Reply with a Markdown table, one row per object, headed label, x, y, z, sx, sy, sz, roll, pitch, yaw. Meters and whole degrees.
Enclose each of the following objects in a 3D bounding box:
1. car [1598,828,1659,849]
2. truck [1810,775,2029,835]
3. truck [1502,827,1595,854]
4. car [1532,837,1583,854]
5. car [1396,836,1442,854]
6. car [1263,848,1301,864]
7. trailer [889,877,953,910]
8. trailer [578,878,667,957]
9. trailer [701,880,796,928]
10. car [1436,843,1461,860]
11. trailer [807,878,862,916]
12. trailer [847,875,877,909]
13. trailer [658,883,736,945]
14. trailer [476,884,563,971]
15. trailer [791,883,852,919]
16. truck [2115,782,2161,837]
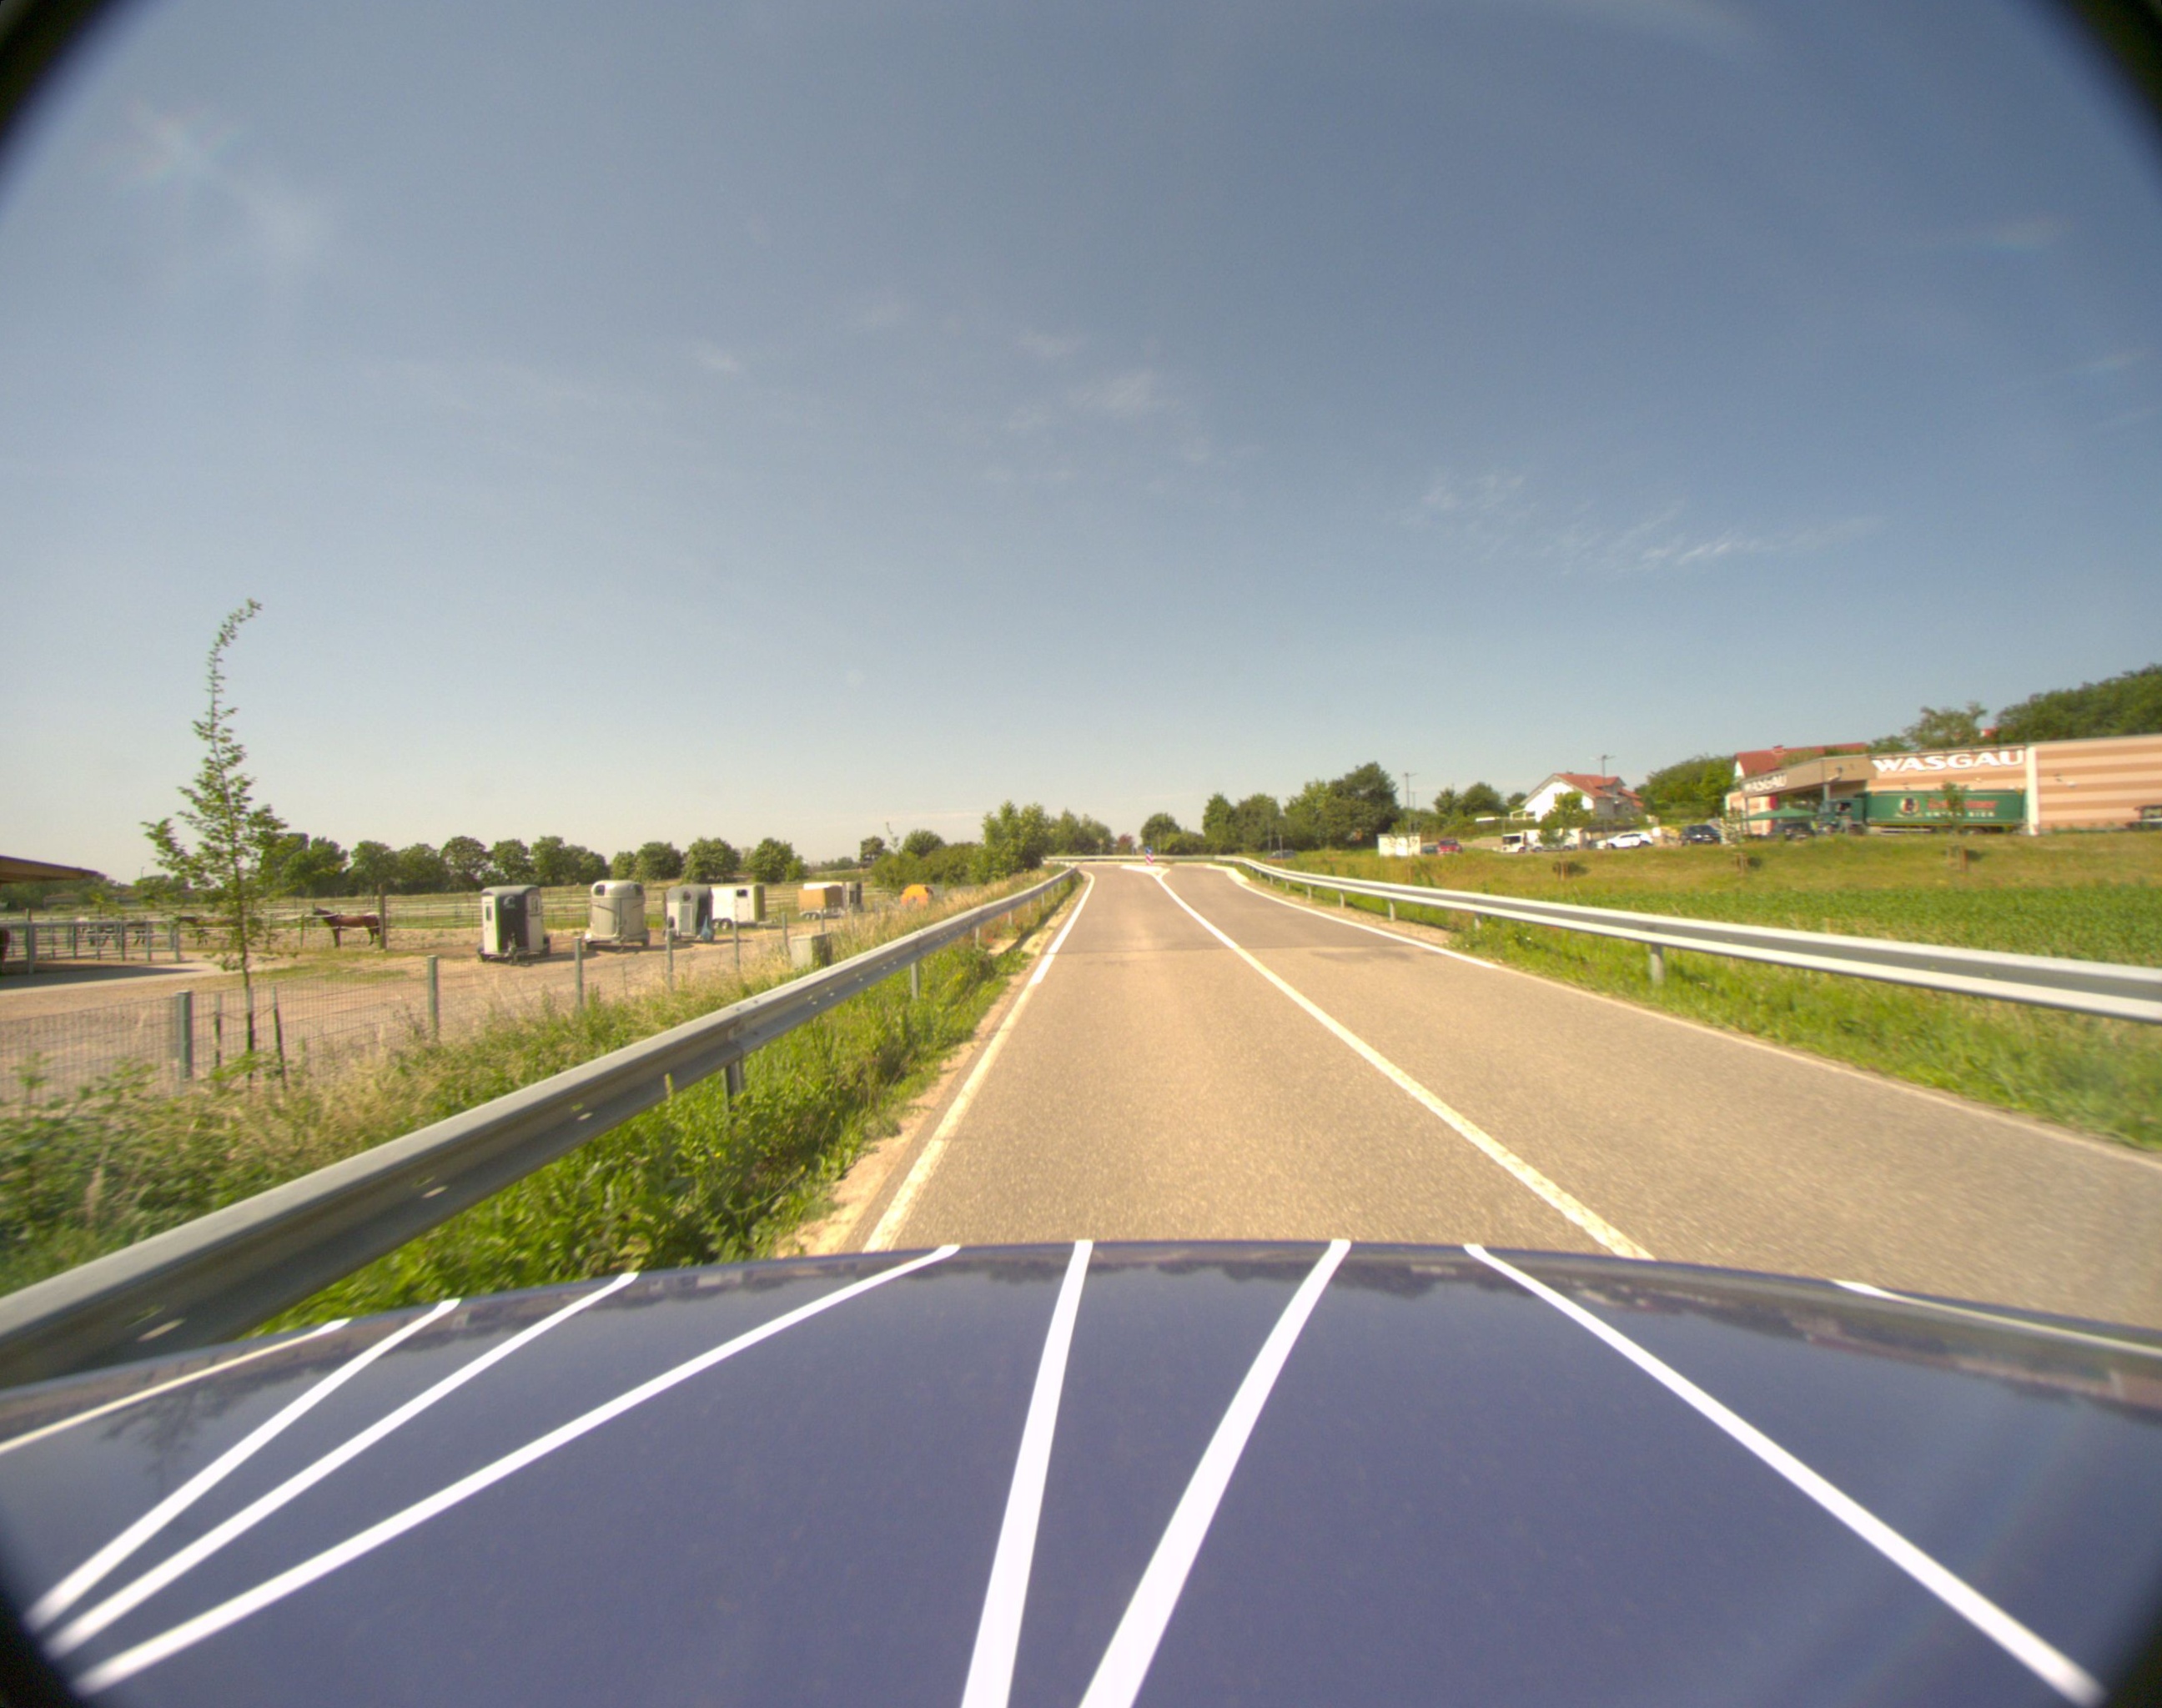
| label | x | y | z | sx | sy | sz | roll | pitch | yaw |
| --- | --- | --- | --- | --- | --- | --- | --- | --- | --- |
| car | 51.991 | -1.495 | 72.268 | 4.323 | 1.694 | 2.003 | -3 | 1 | 25 |
| truck | 58.624 | -3.355 | 53.574 | 9.917 | 3.457 | 2.883 | -2 | 2 | 30 |
| truck | 64.530 | -1.870 | 105.146 | 10.704 | 3.173 | 2.448 | -3 | 1 | 11 |
| car | 51.327 | -0.876 | 81.908 | 4.323 | 1.588 | 2.003 | -3 | 1 | 24 |
| car | 36.685 | -0.999 | 82.469 | 4.322 | 1.694 | 2.003 | -3 | 1 | 27 |
| car | 24.774 | 0.202 | 93.498 | 4.187 | 1.694 | 2.003 | -3 | 1 | 24 |
| trailer | -13.972 | 3.444 | 66.766 | 2.576 | 2.366 | 6.059 | -3 | 1 | 20 |
| trailer | -18.548 | 2.448 | 30.638 | 2.239 | 2.847 | 5.031 | -1 | -1 | -41 |
| trailer | -19.754 | 2.982 | 45.117 | 5.176 | 2.672 | 2.212 | -3 | -1 | 24 |
| car | 30.301 | -0.231 | 62.712 | 1.620 | 1.281 | 3.679 | -3 | 1 | 23 |
| trailer | -19.554 | 3.384 | 60.316 | 3.413 | 2.789 | 2.168 | -2 | 0 | 22 |
| trailer | -19.202 | 3.365 | 66.459 | 2.002 | 2.787 | 3.373 | -3 | -2 | -23 |
| trailer | -17.366 | 2.638 | 34.268 | 1.830 | 2.612 | 4.541 | 3 | -4 | -44 |
| trailer | -20.261 | 2.512 | 27.331 | 2.179 | 2.655 | 4.468 | -1 | 1 | -41 |
| trailer | -19.258 | 3.501 | 56.331 | 4.083 | 2.376 | 2.010 | -5 | -1 | 31 |
| truck | 74.963 | -3.128 | 49.359 | 8.861 | 3.544 | 2.882 | -3 | 2 | 26 |
